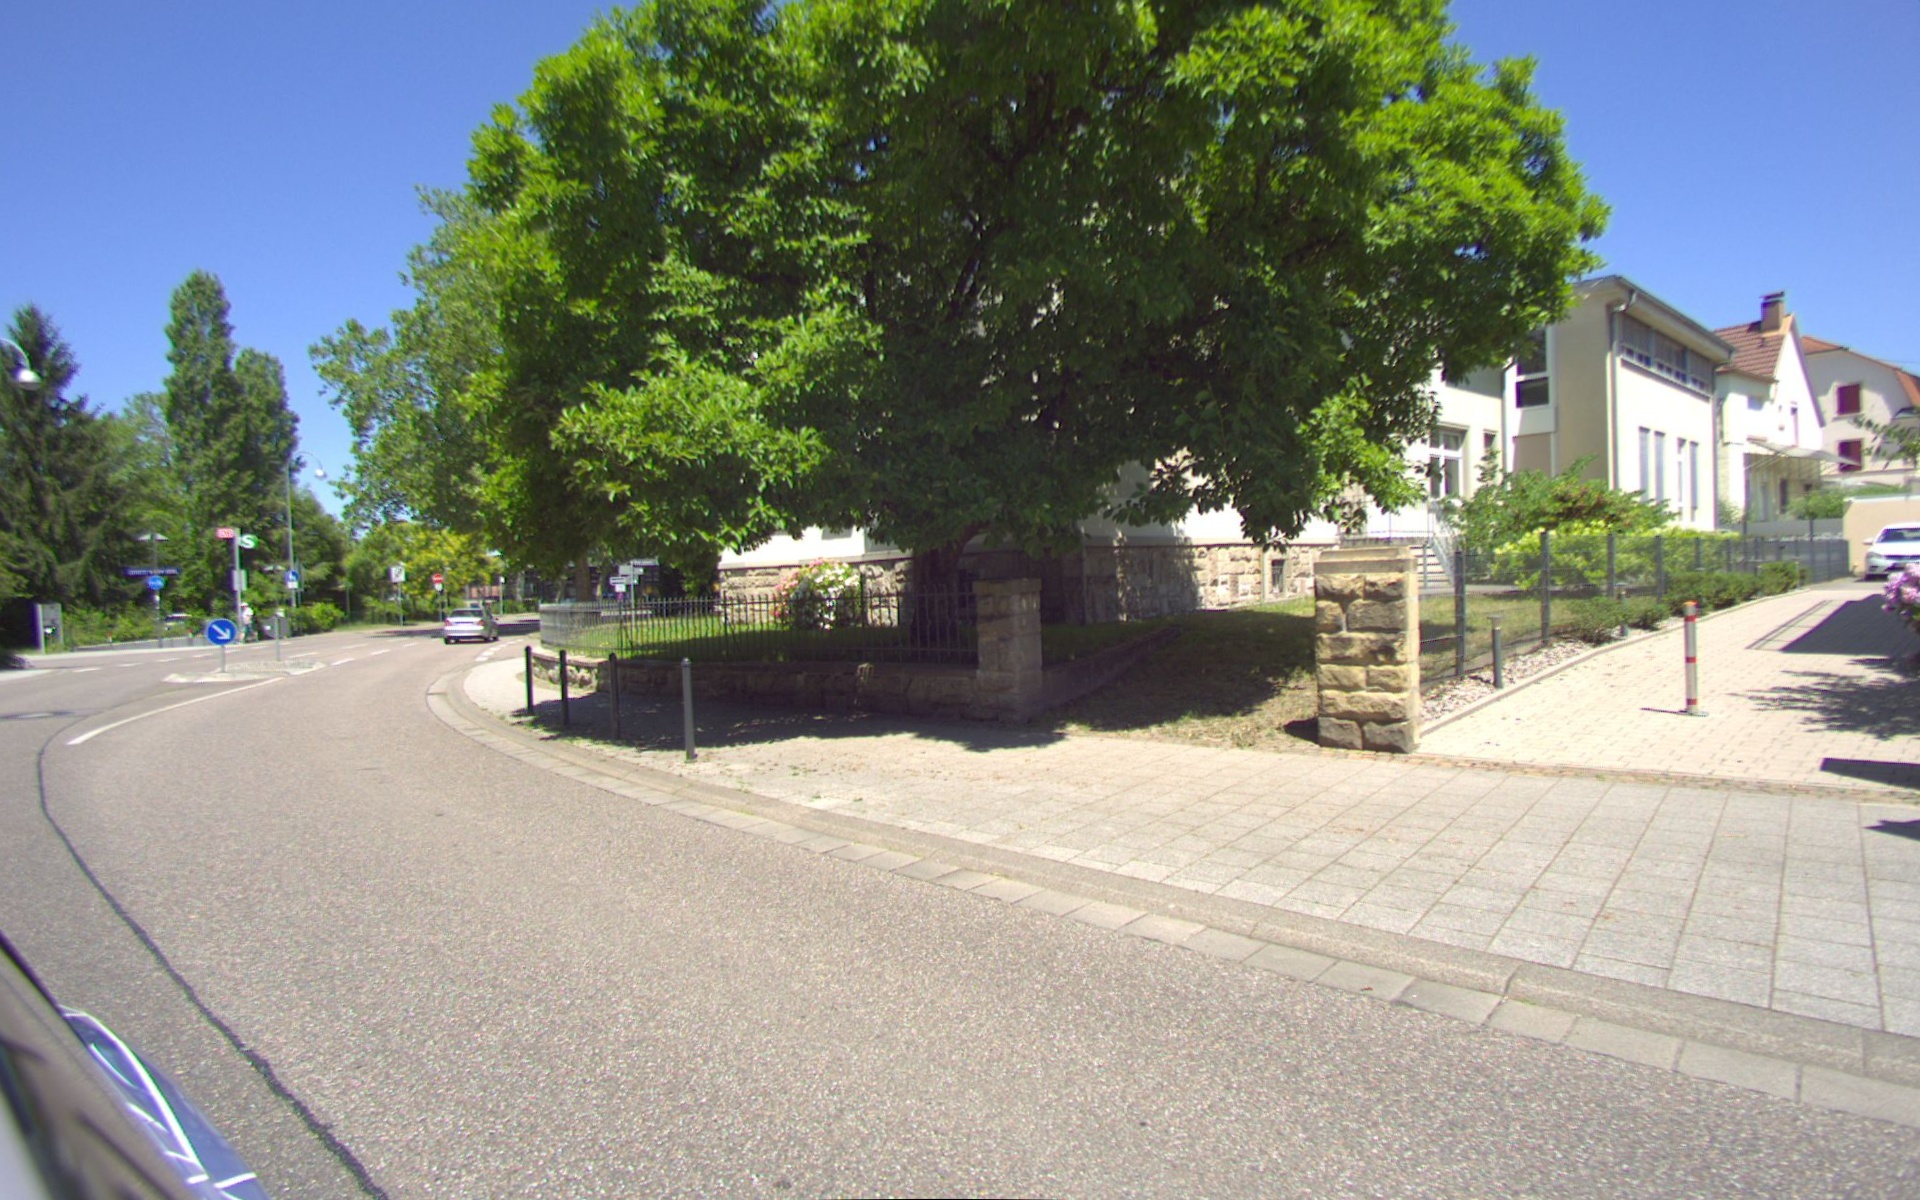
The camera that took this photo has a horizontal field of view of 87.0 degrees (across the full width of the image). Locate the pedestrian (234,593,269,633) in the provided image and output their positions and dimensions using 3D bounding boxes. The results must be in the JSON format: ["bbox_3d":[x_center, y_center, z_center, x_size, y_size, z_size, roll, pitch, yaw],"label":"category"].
[{"bbox_3d":[-31.550,0.574,45.089,0.902,1.785,0.915,0,1,1],"label":"pedestrian"}]

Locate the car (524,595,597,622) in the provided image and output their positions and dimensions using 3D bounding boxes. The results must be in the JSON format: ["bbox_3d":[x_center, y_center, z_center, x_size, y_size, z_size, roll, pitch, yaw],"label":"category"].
[{"bbox_3d":[-26.401,0.530,66.997,1.778,1.556,4.127,1,3,40],"label":"car"}]

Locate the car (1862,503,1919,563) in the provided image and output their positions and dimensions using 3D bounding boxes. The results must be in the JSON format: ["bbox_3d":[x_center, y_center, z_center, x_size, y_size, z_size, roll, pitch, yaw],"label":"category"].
[{"bbox_3d":[24.890,-1.729,26.056,3.938,1.425,2.003,-2,1,-41],"label":"car"}]

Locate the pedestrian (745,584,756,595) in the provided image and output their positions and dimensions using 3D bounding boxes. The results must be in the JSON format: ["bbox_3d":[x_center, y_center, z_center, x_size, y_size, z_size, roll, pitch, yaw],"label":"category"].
[{"bbox_3d":[-25.651,-1.281,123.986,0.963,1.396,0.819,-1,1,42],"label":"pedestrian"}]

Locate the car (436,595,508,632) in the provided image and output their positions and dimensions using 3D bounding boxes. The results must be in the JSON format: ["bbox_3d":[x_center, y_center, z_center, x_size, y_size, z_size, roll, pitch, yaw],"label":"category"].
[{"bbox_3d":[-19.957,0.519,41.536,1.735,1.446,4.315,-1,0,-13],"label":"car"}]

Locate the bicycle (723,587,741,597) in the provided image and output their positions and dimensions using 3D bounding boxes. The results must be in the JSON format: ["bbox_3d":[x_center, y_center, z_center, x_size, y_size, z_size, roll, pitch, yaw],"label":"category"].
[{"bbox_3d":[-29.265,-1.004,130.012,0.671,1.081,2.139,1,6,44],"label":"bicycle"}]
